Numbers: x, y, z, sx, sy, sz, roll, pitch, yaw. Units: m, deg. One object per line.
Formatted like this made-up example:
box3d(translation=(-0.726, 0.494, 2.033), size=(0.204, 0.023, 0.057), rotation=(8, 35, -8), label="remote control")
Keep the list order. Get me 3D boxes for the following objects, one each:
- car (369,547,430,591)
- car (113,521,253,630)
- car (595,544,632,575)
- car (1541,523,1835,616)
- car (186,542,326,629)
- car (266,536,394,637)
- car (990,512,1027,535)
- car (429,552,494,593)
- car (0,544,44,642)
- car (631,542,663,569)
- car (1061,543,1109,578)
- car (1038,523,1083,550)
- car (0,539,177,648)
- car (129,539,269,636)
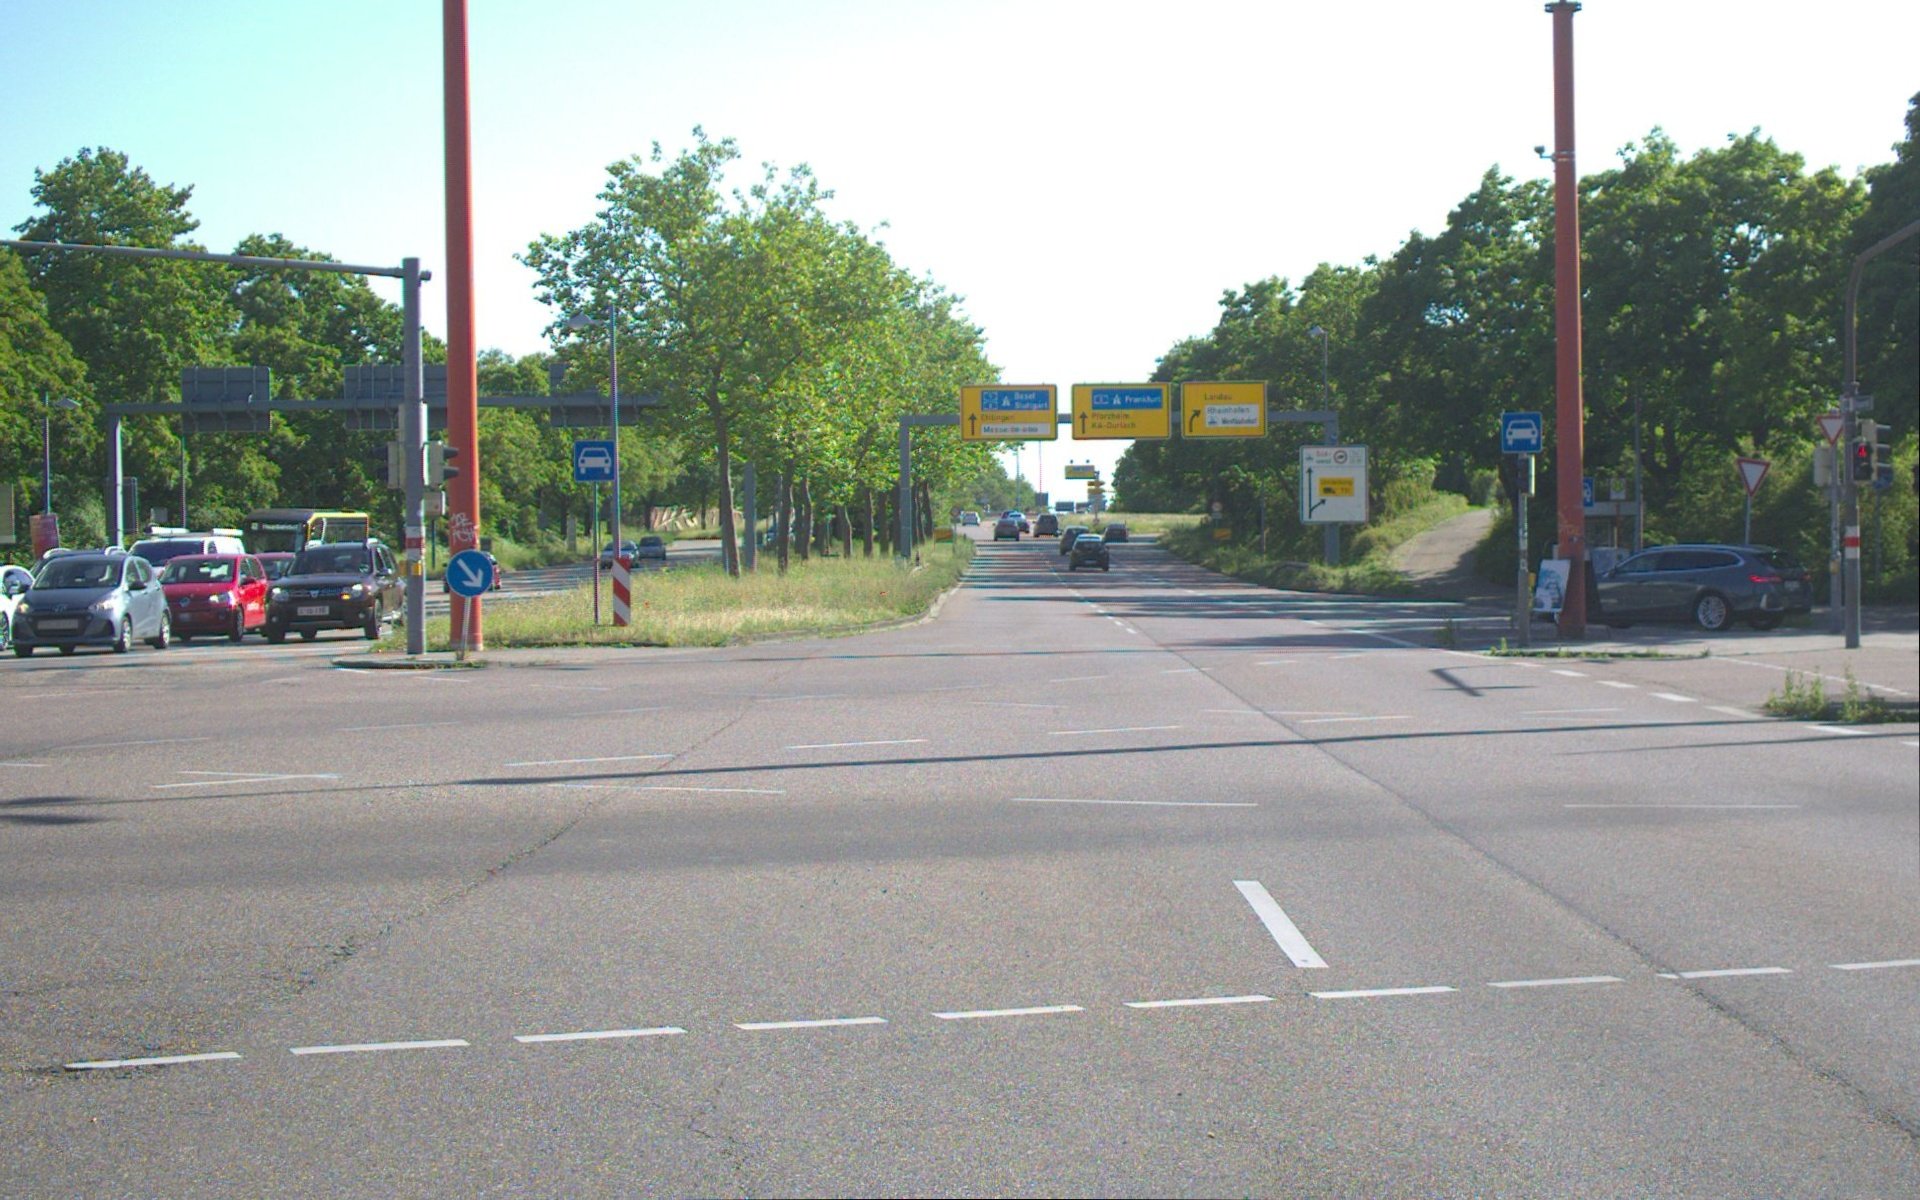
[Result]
box3d(translation=(-20.400, -1.131, 125.233), size=(1.876, 1.568, 4.121), rotation=(-1, 1, -5), label="car")
box3d(translation=(-16.115, -0.527, 71.512), size=(2.062, 2.185, 4.379), rotation=(-1, 1, -2), label="car")
box3d(translation=(-18.159, -2.119, 180.265), size=(1.876, 1.568, 3.948), rotation=(-1, 1, -5), label="car")
box3d(translation=(12.788, -0.535, 60.514), size=(4.578, 1.568, 2.161), rotation=(0, 1, 40), label="car")
box3d(translation=(-13.117, -0.294, 64.251), size=(1.993, 1.568, 4.121), rotation=(-1, 1, -4), label="car")
box3d(translation=(-10.247, -0.244, 56.151), size=(1.876, 1.568, 4.122), rotation=(-1, 1, -8), label="car")
box3d(translation=(3.502, -5.558, 249.880), size=(2.245, 1.568, 4.282), rotation=(-1, 1, -5), label="car")
box3d(translation=(-18.204, -1.017, 125.718), size=(1.821, 1.449, 3.656), rotation=(-1, 1, 0), label="car")
box3d(translation=(-16.489, -0.116, 57.039), size=(1.993, 1.568, 4.122), rotation=(-2, 1, -8), label="car")
box3d(translation=(-18.621, -2.645, 204.618), size=(1.876, 1.568, 4.121), rotation=(-1, 1, -5), label="car")
box3d(translation=(5.734, -1.832, 158.531), size=(2.159, 1.568, 4.281), rotation=(-1, 1, 1), label="car")
box3d(translation=(5.887, -3.721, 201.894), size=(2.158, 1.568, 4.281), rotation=(-1, 1, -4), label="car")
box3d(translation=(-13.253, -0.131, 52.170), size=(1.993, 1.568, 4.121), rotation=(-1, 1, -3), label="car")
box3d(translation=(-12.899, -0.234, 58.472), size=(1.993, 1.568, 4.122), rotation=(-1, 1, -8), label="car")
